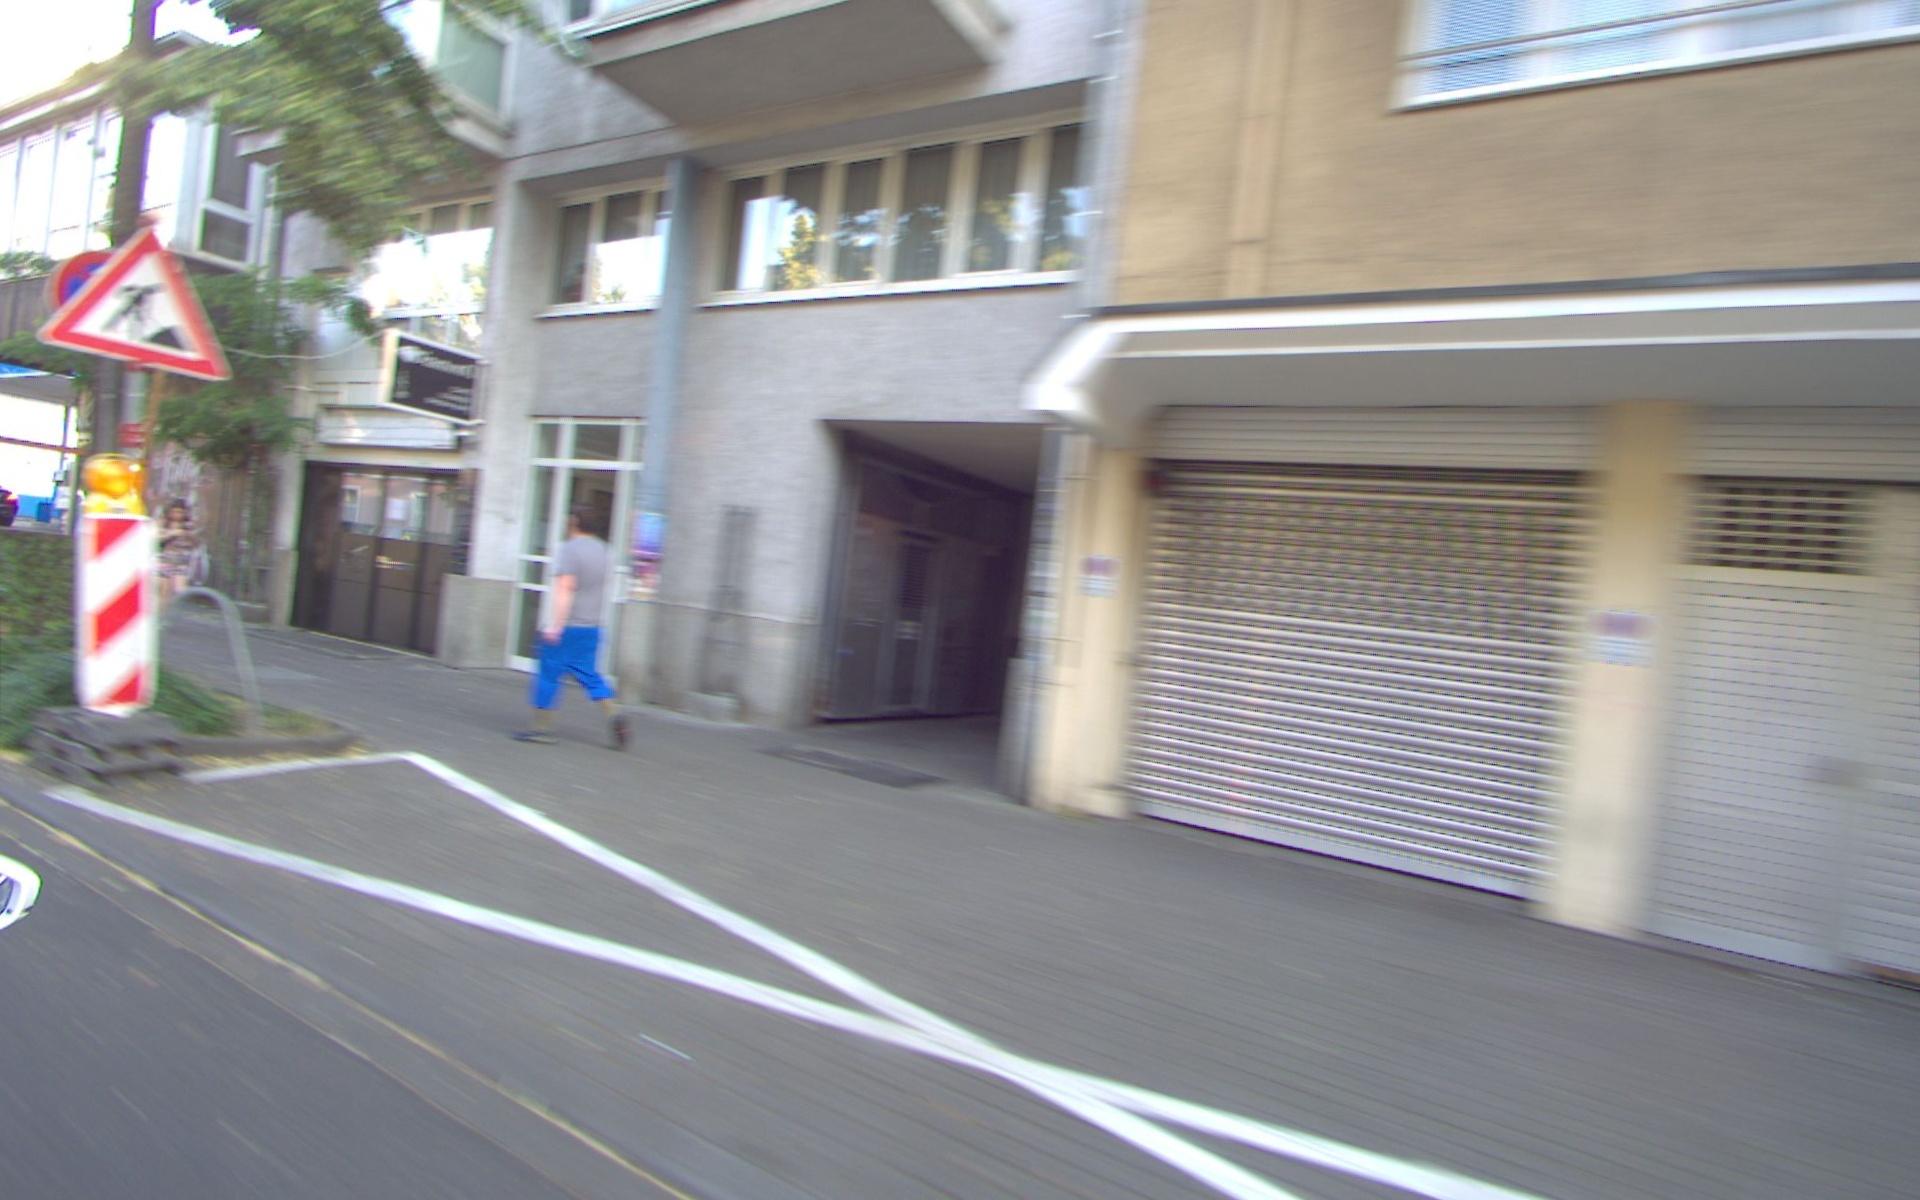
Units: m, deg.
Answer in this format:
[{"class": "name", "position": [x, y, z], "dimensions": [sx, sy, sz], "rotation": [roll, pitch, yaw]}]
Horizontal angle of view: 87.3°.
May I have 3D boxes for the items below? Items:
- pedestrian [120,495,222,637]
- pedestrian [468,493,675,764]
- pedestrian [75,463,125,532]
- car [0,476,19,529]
[{"class": "pedestrian", "position": [-9.140, -0.390, 11.660], "dimensions": [0.760, 1.545, 0.611], "rotation": [7, 2, 31]}, {"class": "pedestrian", "position": [-2.878, 0.196, 7.493], "dimensions": [0.979, 1.817, 0.857], "rotation": [7, 1, 27]}, {"class": "pedestrian", "position": [-39.306, -4.668, 45.984], "dimensions": [1.148, 2.942, 1.210], "rotation": [6, -1, 31]}, {"class": "car", "position": [-29.371, -3.002, 29.164], "dimensions": [4.827, 1.449, 1.736], "rotation": [5, 0, 31]}]
